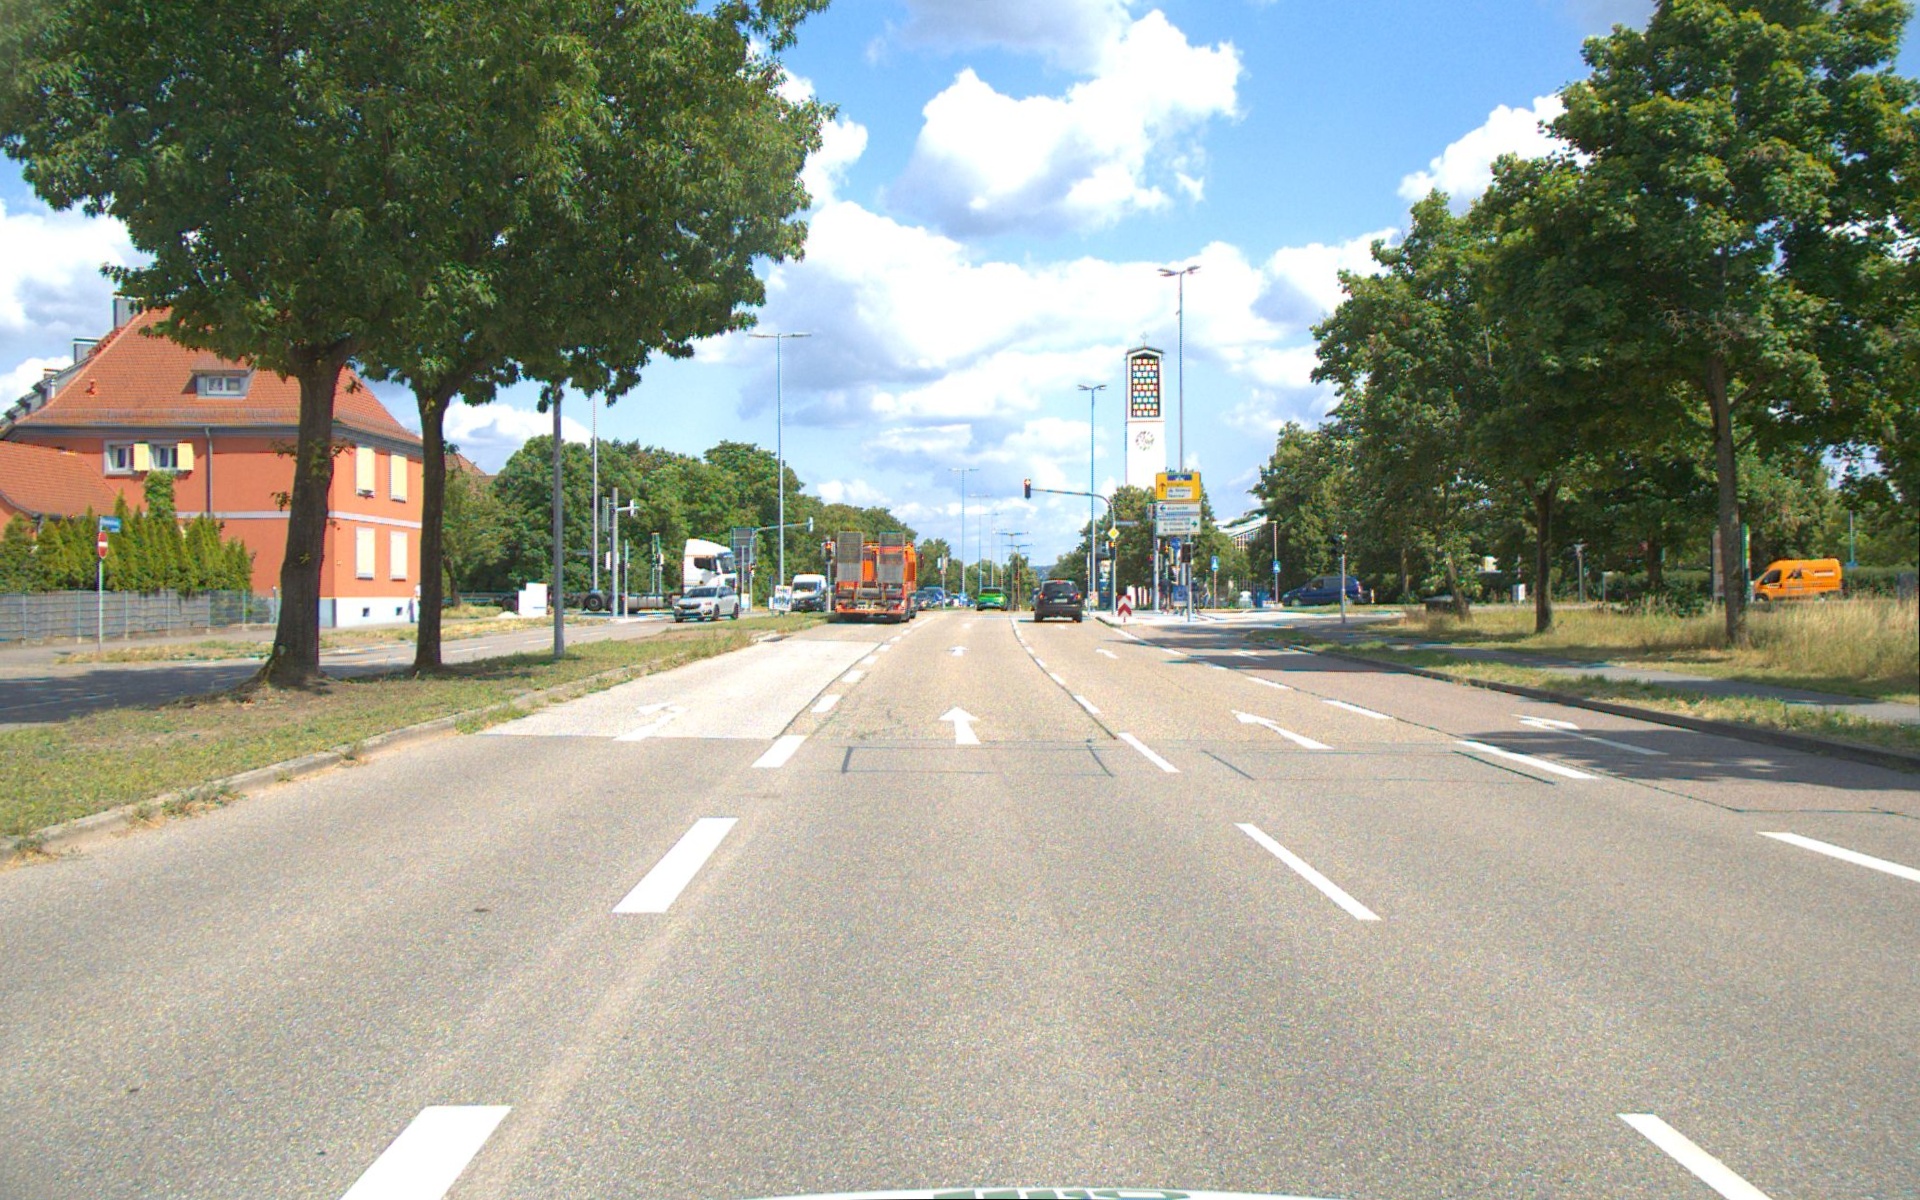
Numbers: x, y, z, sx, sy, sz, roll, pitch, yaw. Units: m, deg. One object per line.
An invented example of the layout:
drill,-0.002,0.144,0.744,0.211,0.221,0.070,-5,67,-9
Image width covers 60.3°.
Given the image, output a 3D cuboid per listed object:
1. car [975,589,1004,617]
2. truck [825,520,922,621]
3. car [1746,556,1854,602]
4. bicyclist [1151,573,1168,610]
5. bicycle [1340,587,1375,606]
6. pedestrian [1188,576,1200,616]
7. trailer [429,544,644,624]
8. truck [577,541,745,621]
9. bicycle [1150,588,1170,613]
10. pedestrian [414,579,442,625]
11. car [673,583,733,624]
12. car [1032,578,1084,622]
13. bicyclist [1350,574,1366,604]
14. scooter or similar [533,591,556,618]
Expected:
car,1.800,0.203,103.201,1.704,1.698,3.590,2,0,0
truck,-3.174,-0.995,63.856,3.008,3.474,11.067,2,0,0
car,44.128,-1.103,87.014,4.743,2.265,2.212,2,-1,19
bicyclist,9.233,-0.376,76.463,0.634,1.690,0.650,1,-1,16
bicycle,24.196,-0.214,100.609,1.963,1.113,0.683,0,0,35
pedestrian,10.727,-0.192,75.827,0.454,1.810,0.482,1,-1,11
trailer,-23.432,-0.842,91.618,11.041,4.082,3.635,-1,0,14
truck,-16.231,-1.005,89.964,8.426,4.040,2.971,-1,-1,14
bicycle,9.273,0.045,76.647,0.634,1.127,1.929,1,-1,16
pedestrian,-19.171,0.066,59.571,0.681,1.611,0.851,2,-1,0
car,-10.725,0.167,69.242,1.697,1.534,4.652,-4,0,0
car,3.786,0.015,64.295,1.762,1.579,4.000,2,0,0
bicyclist,24.194,-0.664,100.611,0.773,1.836,0.683,0,-1,35
scooter or similar,-18.861,0.195,75.084,0.577,1.184,1.761,2,-1,0
